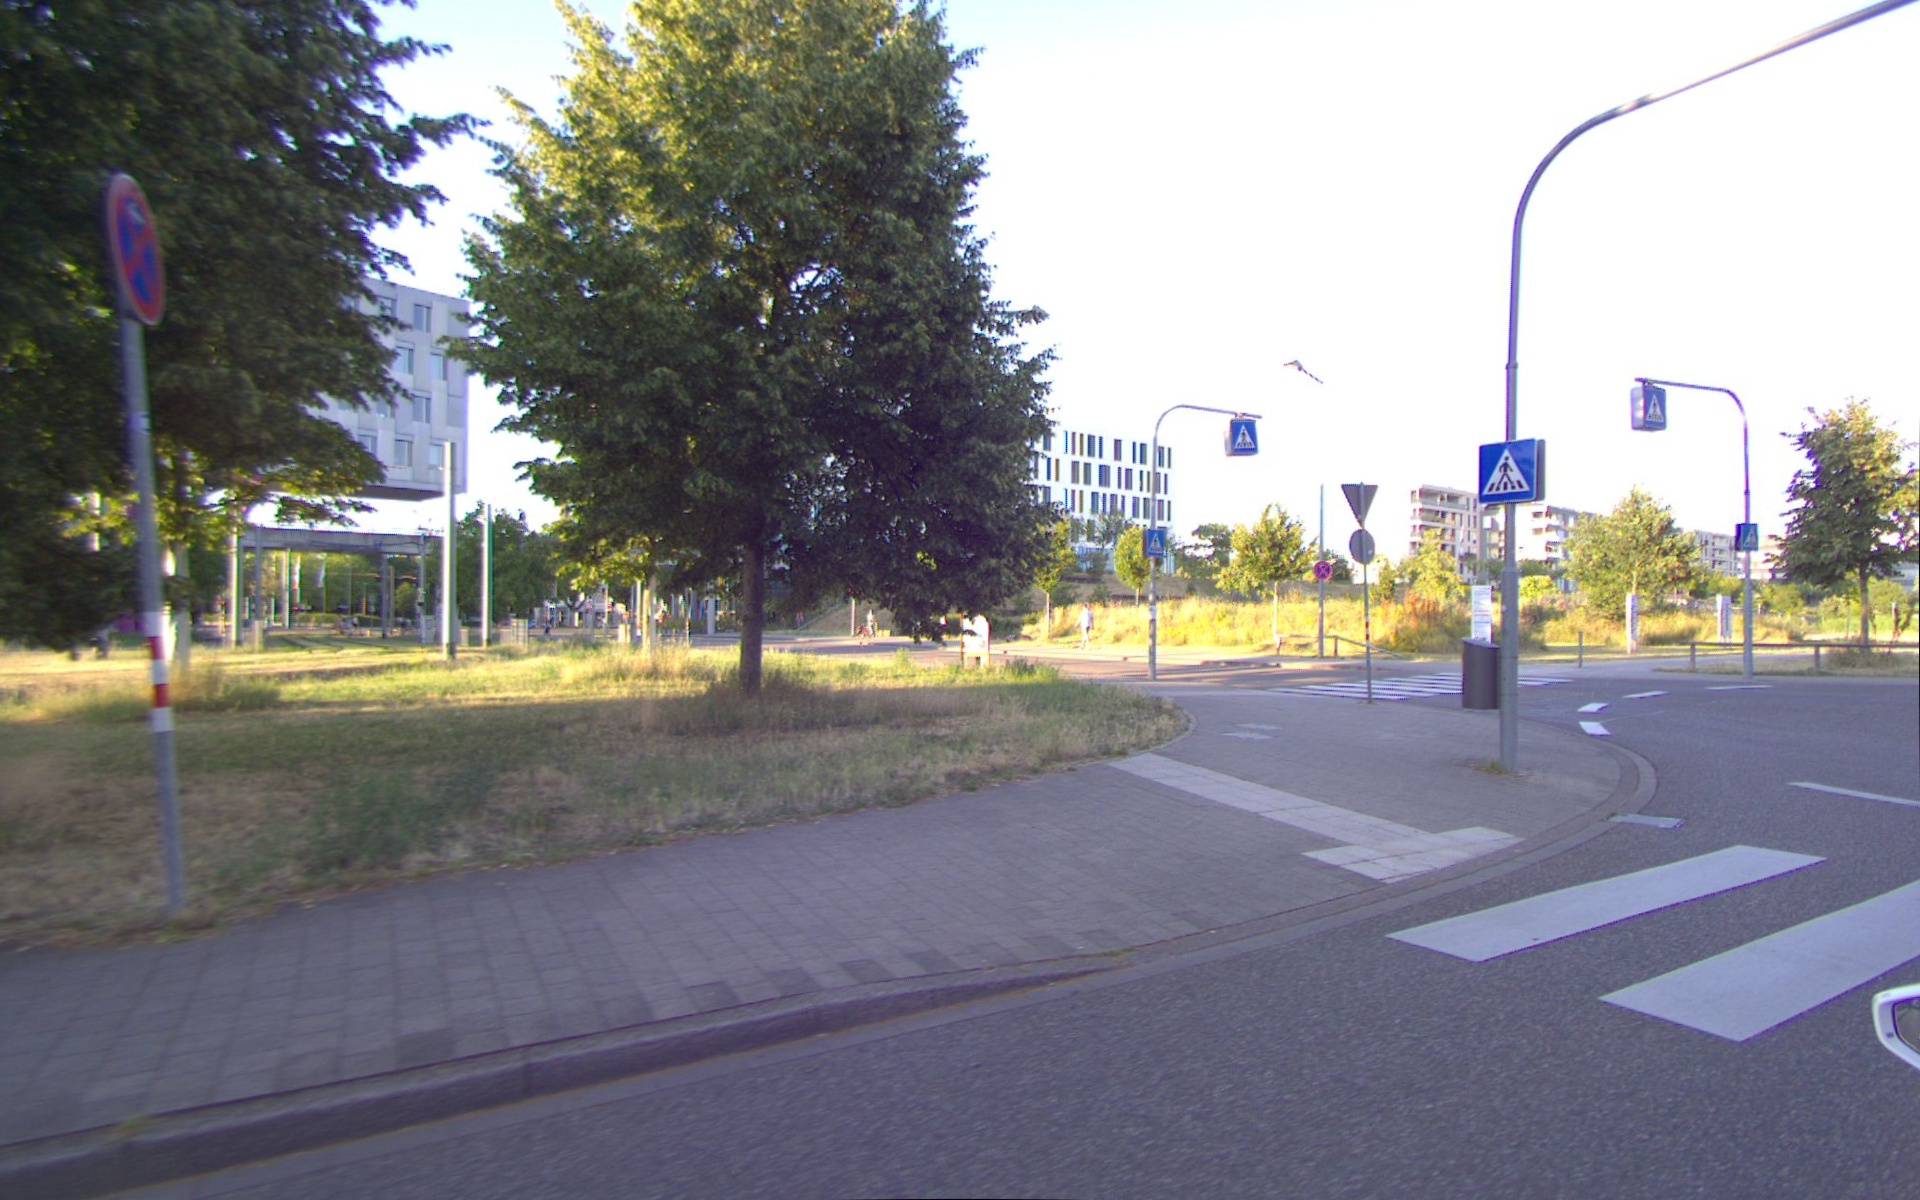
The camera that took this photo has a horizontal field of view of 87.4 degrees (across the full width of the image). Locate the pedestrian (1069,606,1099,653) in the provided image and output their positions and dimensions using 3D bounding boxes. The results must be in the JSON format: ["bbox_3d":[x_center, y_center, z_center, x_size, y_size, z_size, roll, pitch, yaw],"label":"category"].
[{"bbox_3d":[4.879,1.163,39.578,0.781,1.810,0.861,1,-1,-32],"label":"pedestrian"}]

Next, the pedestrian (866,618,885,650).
[{"bbox_3d":[-4.739,1.902,56.311,0.803,1.810,0.784,1,-1,-27],"label":"pedestrian"}]

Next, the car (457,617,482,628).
[{"bbox_3d":[-92.917,4.218,190.270,3.937,2.041,1.992,1,1,-18],"label":"car"}]
